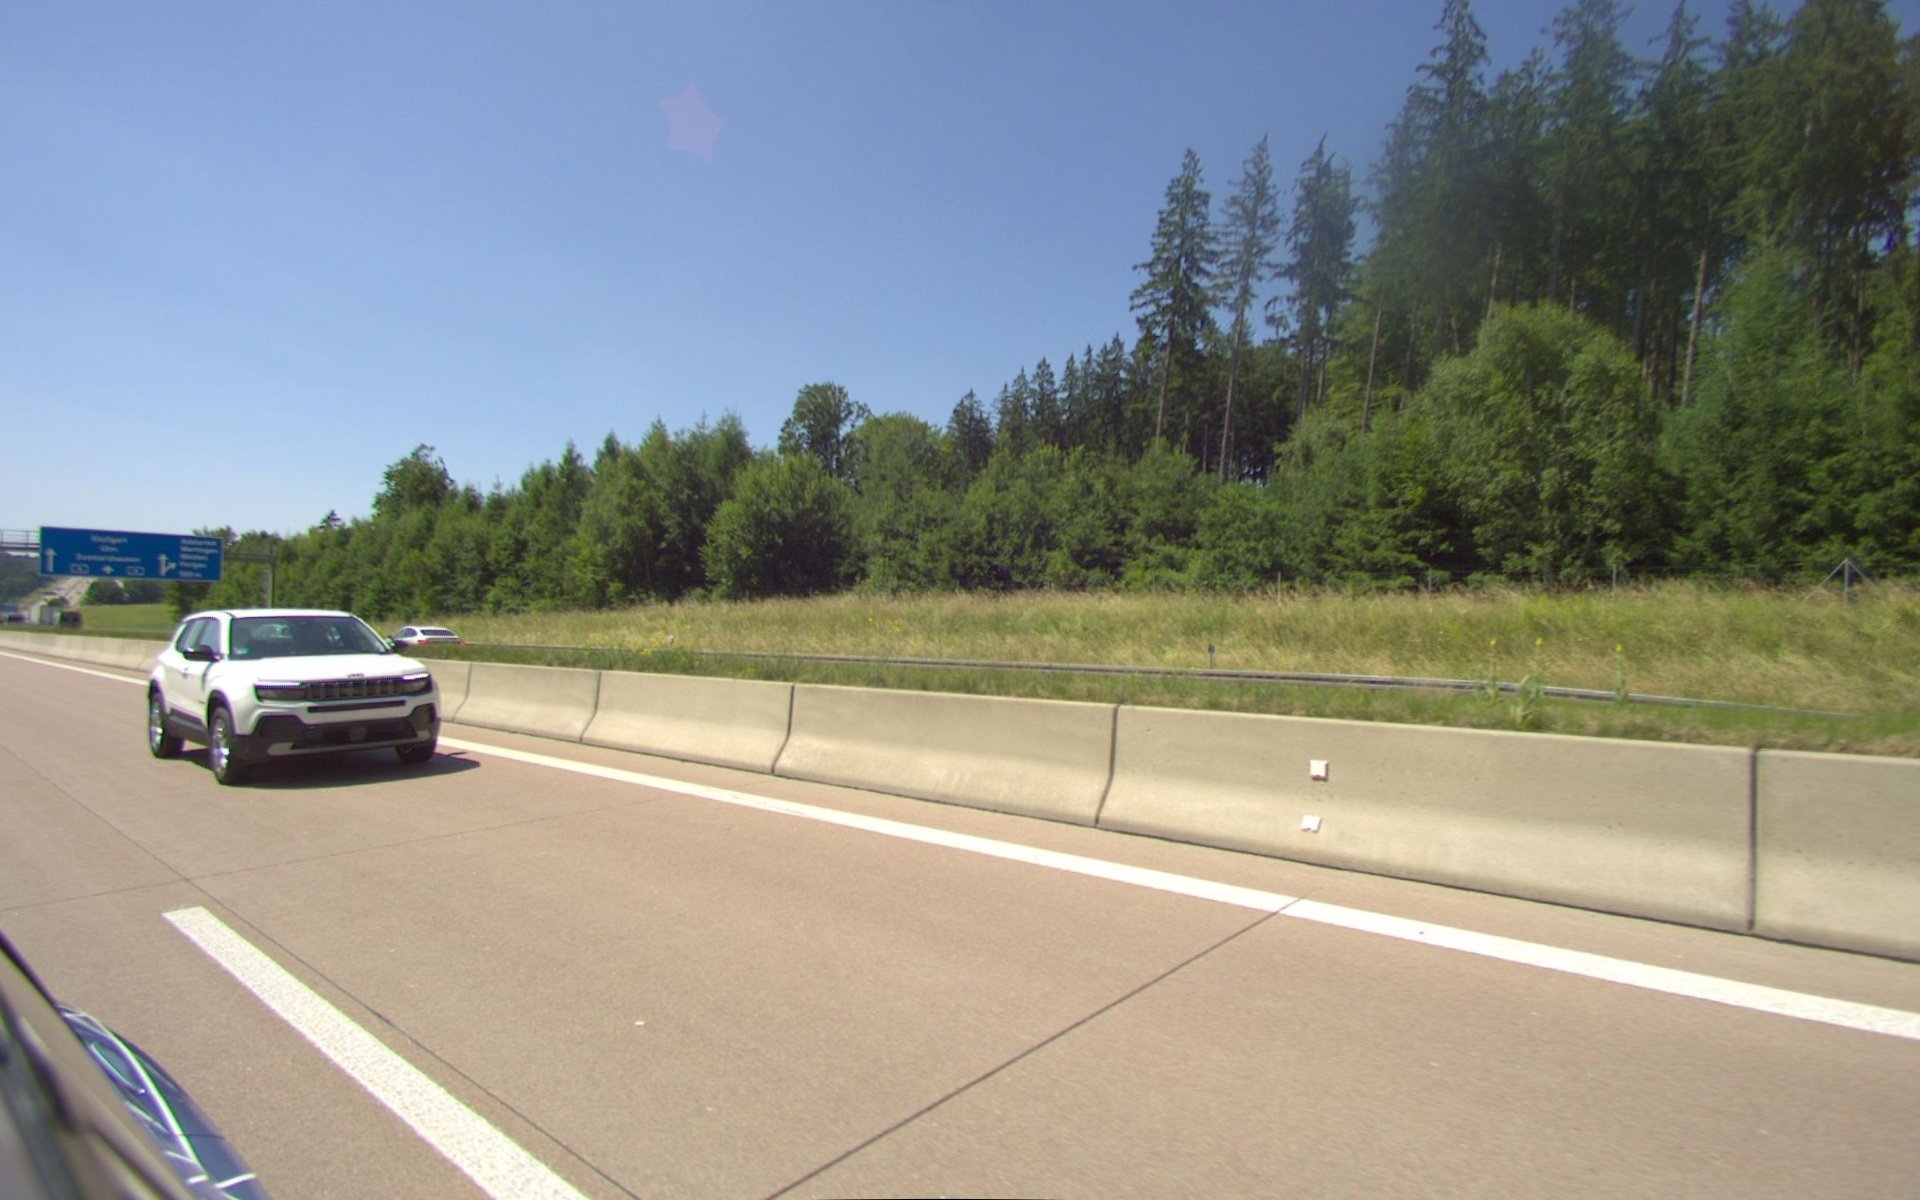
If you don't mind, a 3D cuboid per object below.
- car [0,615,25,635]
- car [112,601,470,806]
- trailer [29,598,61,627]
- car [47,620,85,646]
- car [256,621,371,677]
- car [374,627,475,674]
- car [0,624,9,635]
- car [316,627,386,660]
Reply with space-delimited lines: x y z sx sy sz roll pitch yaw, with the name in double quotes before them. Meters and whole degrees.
"car" -132.721 3.509 141.624 6.095 2.706 2.209 -1 -1 42
"car" -6.971 0.858 10.315 4.832 1.619 1.859 -1 -1 41
"trailer" -143.131 2.019 158.244 13.194 4.468 2.673 -1 -1 44
"car" -97.789 3.603 110.666 6.884 2.706 2.209 -1 -1 41
"car" -21.771 1.590 34.017 4.457 1.752 1.873 -1 -1 38
"car" -19.703 1.803 37.155 4.462 1.606 1.871 -1 -1 42
"car" -153.244 4.694 161.502 3.998 1.667 1.871 -1 -1 41
"car" -31.718 2.226 52.679 4.462 1.606 1.871 -1 -1 42
